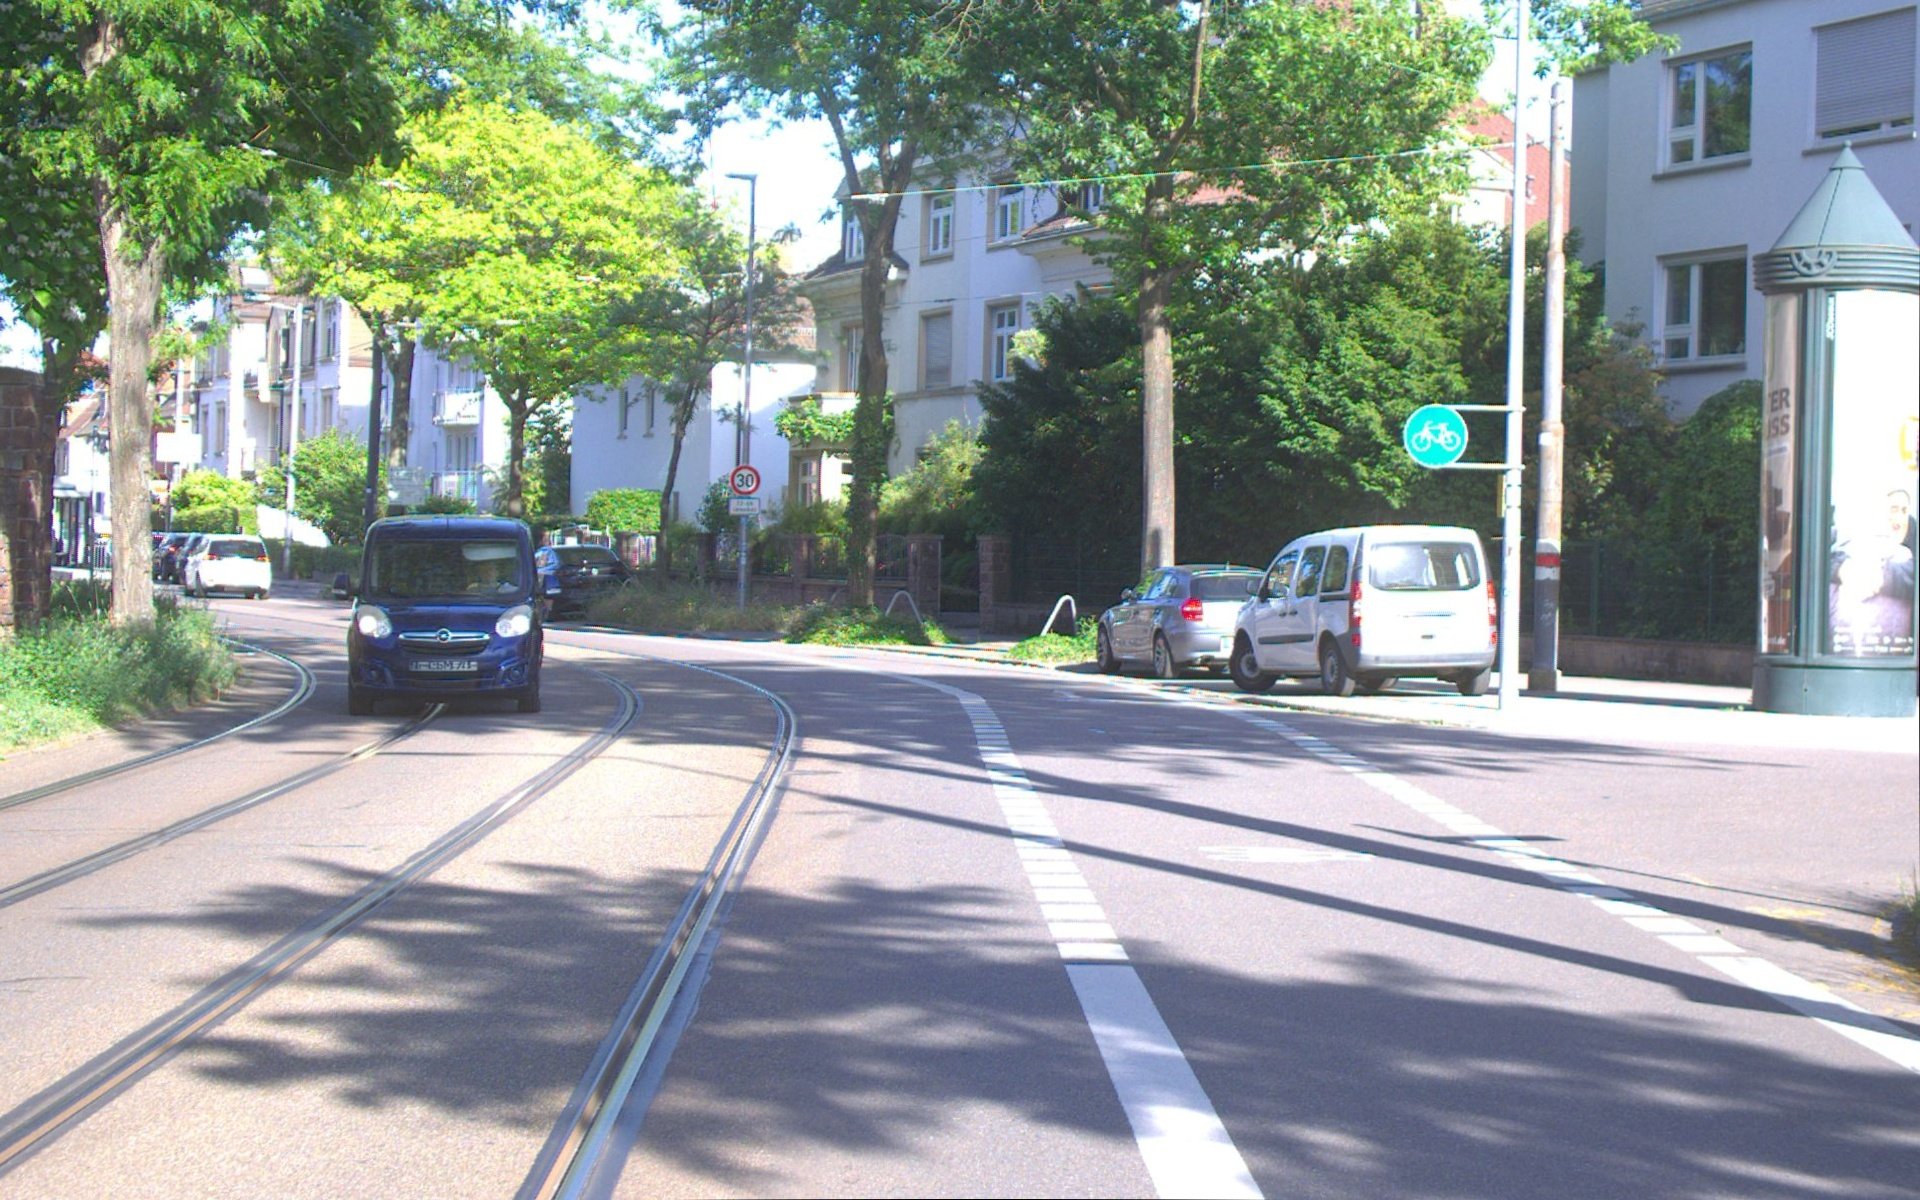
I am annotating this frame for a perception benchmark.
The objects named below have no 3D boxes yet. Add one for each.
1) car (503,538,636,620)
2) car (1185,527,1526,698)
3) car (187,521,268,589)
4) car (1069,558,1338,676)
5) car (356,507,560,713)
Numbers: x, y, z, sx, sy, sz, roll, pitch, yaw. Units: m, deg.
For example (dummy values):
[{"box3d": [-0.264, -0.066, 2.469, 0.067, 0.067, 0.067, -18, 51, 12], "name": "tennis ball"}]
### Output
[{"box3d": [-8.662, -0.498, 75.865, 1.804, 1.688, 4.730, -2, 2, -20], "name": "car"}, {"box3d": [4.285, 0.088, 38.108, 2.022, 1.741, 4.753, 1, 1, -16], "name": "car"}, {"box3d": [-18.955, -1.138, 88.860, 1.892, 1.605, 4.230, 1, -1, -13], "name": "car"}, {"box3d": [3.050, 0.191, 43.991, 1.993, 1.418, 4.334, 1, 0, -17], "name": "car"}, {"box3d": [-4.680, 0.053, 32.506, 1.632, 1.786, 4.339, 1, 1, -5], "name": "car"}]
